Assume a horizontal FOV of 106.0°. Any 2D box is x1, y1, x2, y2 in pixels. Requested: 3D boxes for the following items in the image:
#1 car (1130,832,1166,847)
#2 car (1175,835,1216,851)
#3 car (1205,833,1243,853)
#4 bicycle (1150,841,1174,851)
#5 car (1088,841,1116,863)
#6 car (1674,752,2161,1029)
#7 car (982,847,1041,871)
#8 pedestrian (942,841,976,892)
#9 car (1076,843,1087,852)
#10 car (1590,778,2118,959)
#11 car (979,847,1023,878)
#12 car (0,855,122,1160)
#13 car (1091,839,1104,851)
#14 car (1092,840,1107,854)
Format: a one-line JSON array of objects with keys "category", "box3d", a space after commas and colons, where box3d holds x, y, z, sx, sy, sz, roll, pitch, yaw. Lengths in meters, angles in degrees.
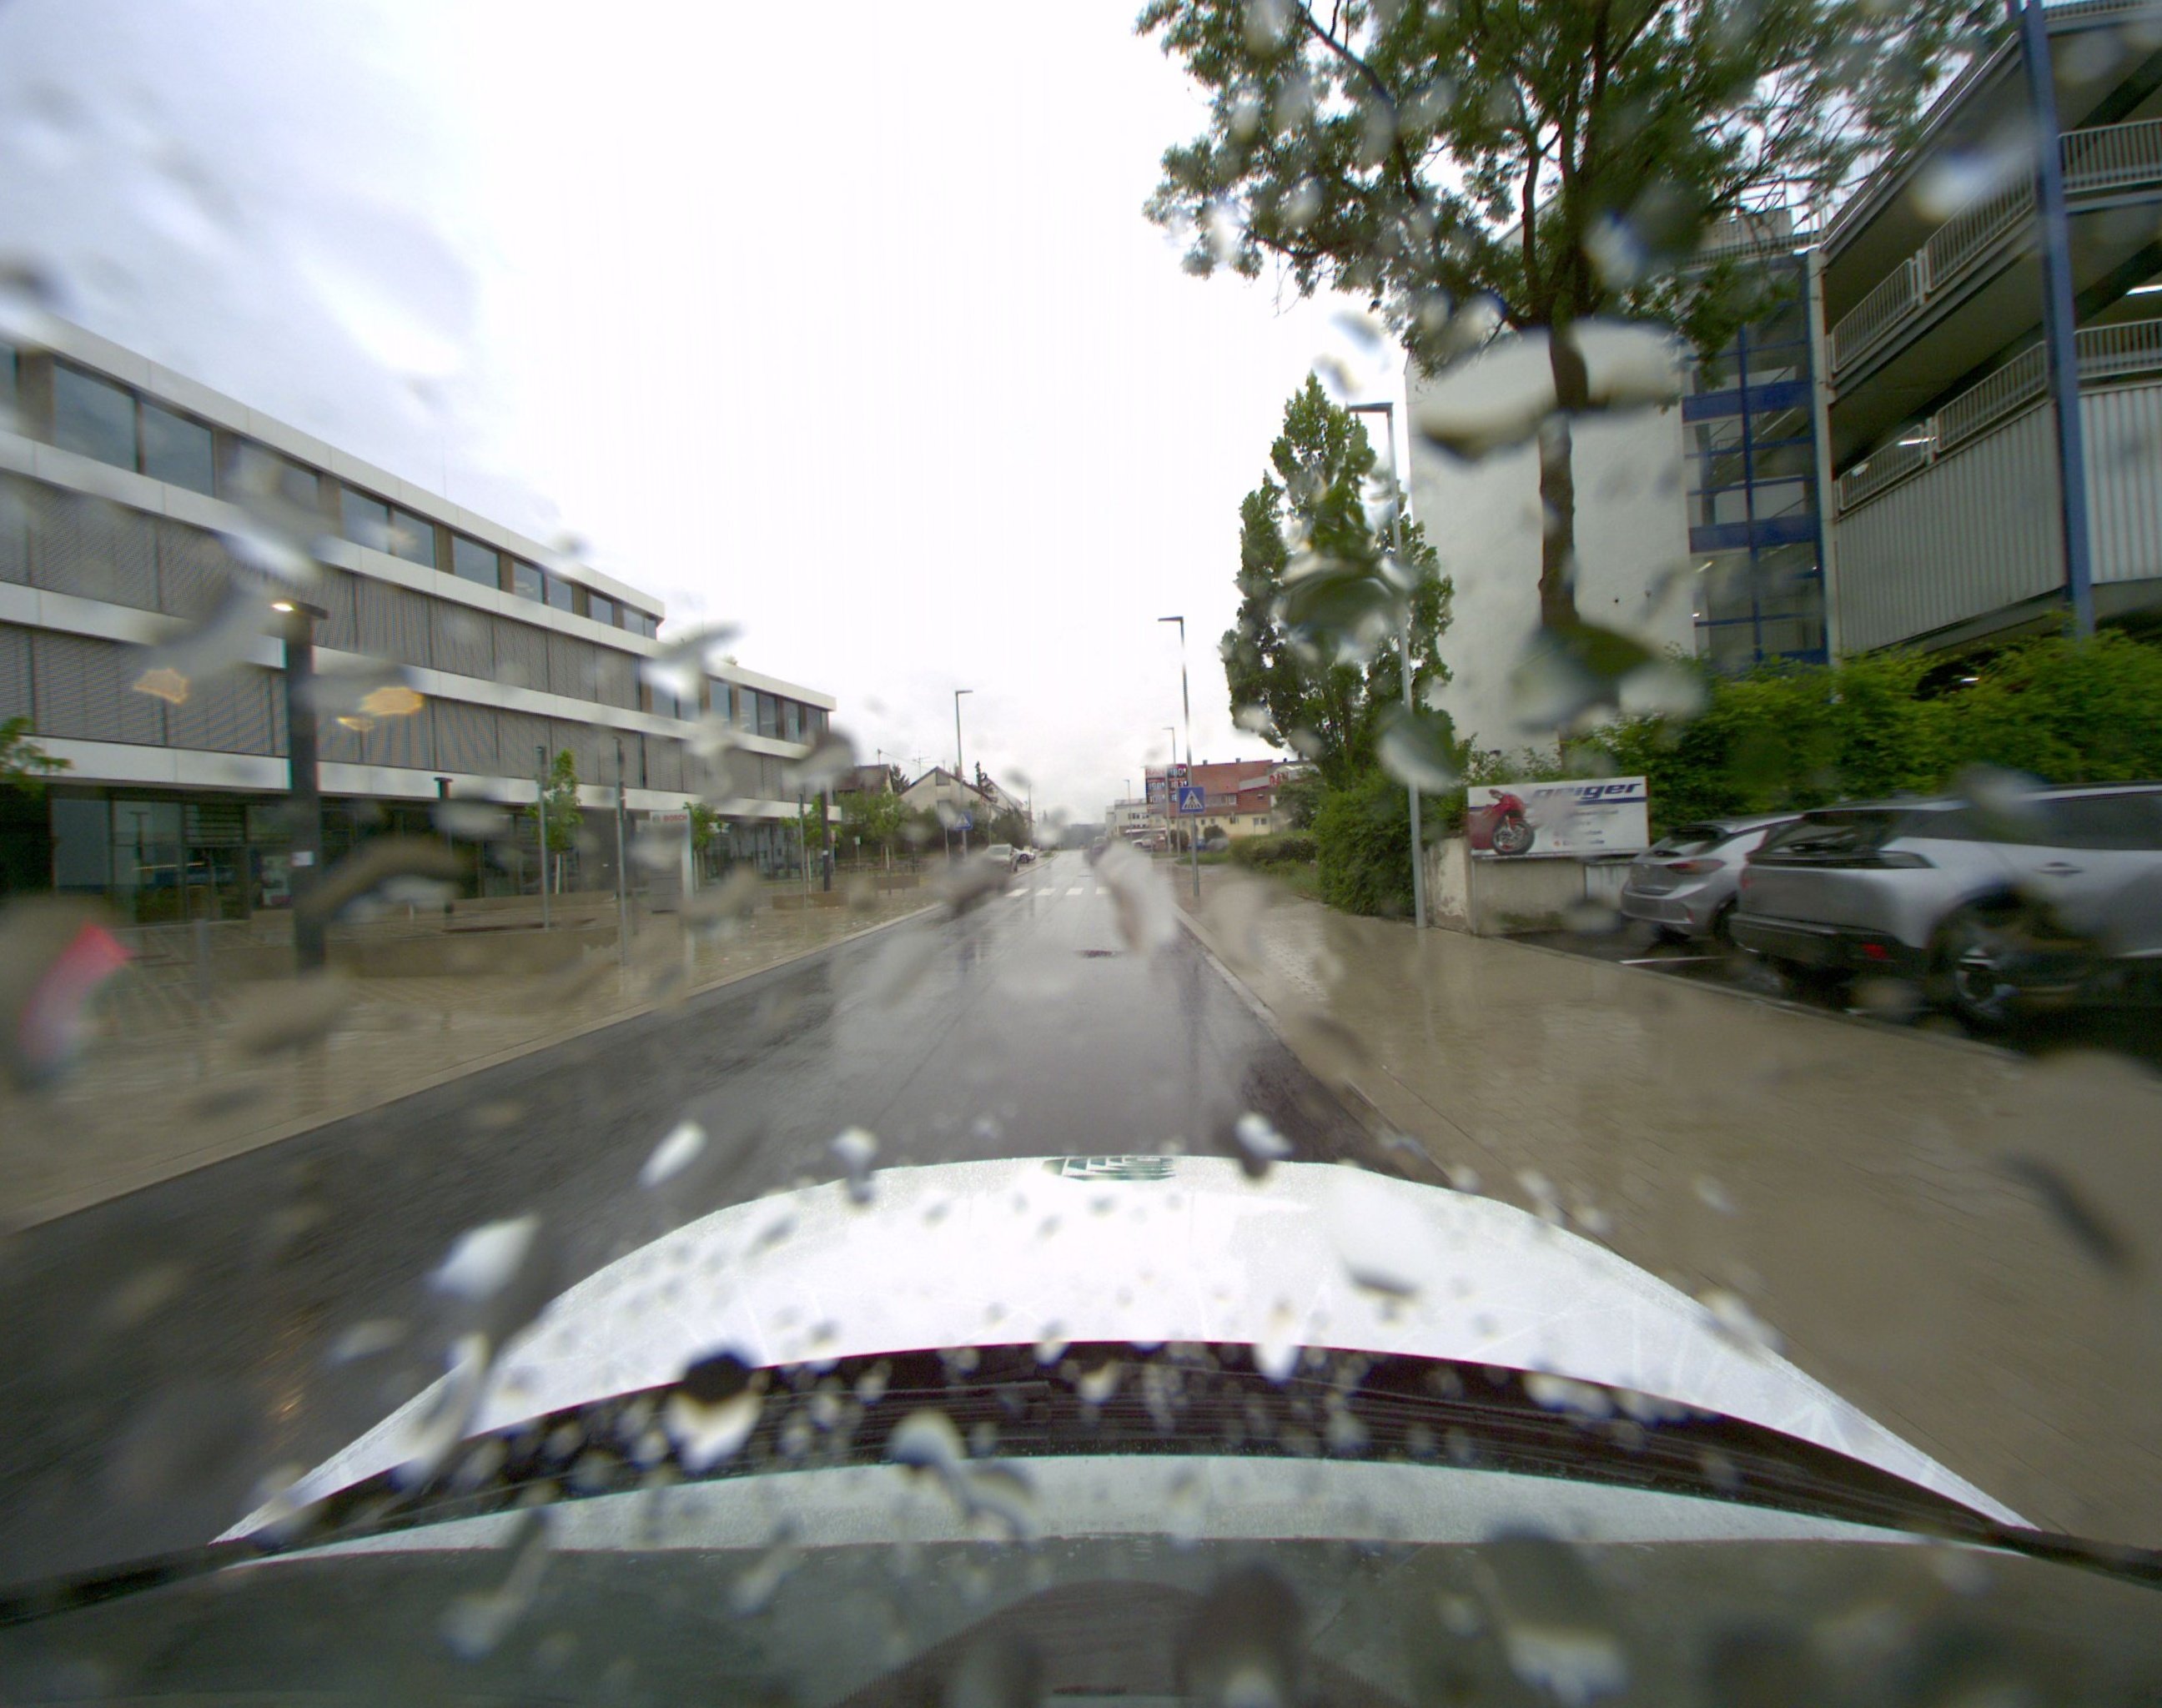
[{"category": "car", "box3d": [8.067, -1.705, 97.730, 4.101, 1.706, 1.787, 1, -1, -2]}, {"category": "car", "box3d": [11.773, -1.110, 83.579, 3.955, 1.493, 1.866, 0, -1, 17]}, {"category": "car", "box3d": [12.218, -0.895, 69.704, 1.994, 1.552, 3.986, 1, -1, -10]}, {"category": "bicycle", "box3d": [9.011, -0.886, 91.094, 0.672, 1.067, 3.594, 2, -1, -30]}, {"category": "car", "box3d": [1.556, -0.102, 61.431, 1.942, 1.556, 3.998, 1, -1, -1]}, {"category": "car", "box3d": [7.254, 0.149, 5.957, 4.180, 1.649, 2.006, -5, 0, 11]}, {"category": "car", "box3d": [-6.024, 0.416, 70.844, 4.731, 2.014, 2.002, 1, -1, 5]}, {"category": "pedestrian", "box3d": [-4.301, 0.440, 28.758, 1.010, 1.724, 0.772, -2, 0, -1]}, {"category": "car", "box3d": [0.084, -1.328, 162.331, 2.146, 1.706, 4.001, 1, -1, 1]}, {"category": "car", "box3d": [7.779, 0.161, 8.604, 3.598, 1.494, 1.812, -4, 0, 10]}, {"category": "car", "box3d": [-4.683, 0.488, 48.303, 1.986, 1.629, 4.155, -3, 1, 1]}, {"category": "car", "box3d": [-7.060, 0.819, 3.378, 3.912, 1.423, 1.899, -3, 0, 2]}, {"category": "car", "box3d": [2.565, -1.332, 126.804, 1.986, 1.706, 4.001, 1, -1, 1]}, {"category": "car", "box3d": [2.632, -0.946, 113.607, 1.986, 1.706, 4.001, 1, -1, 1]}]
